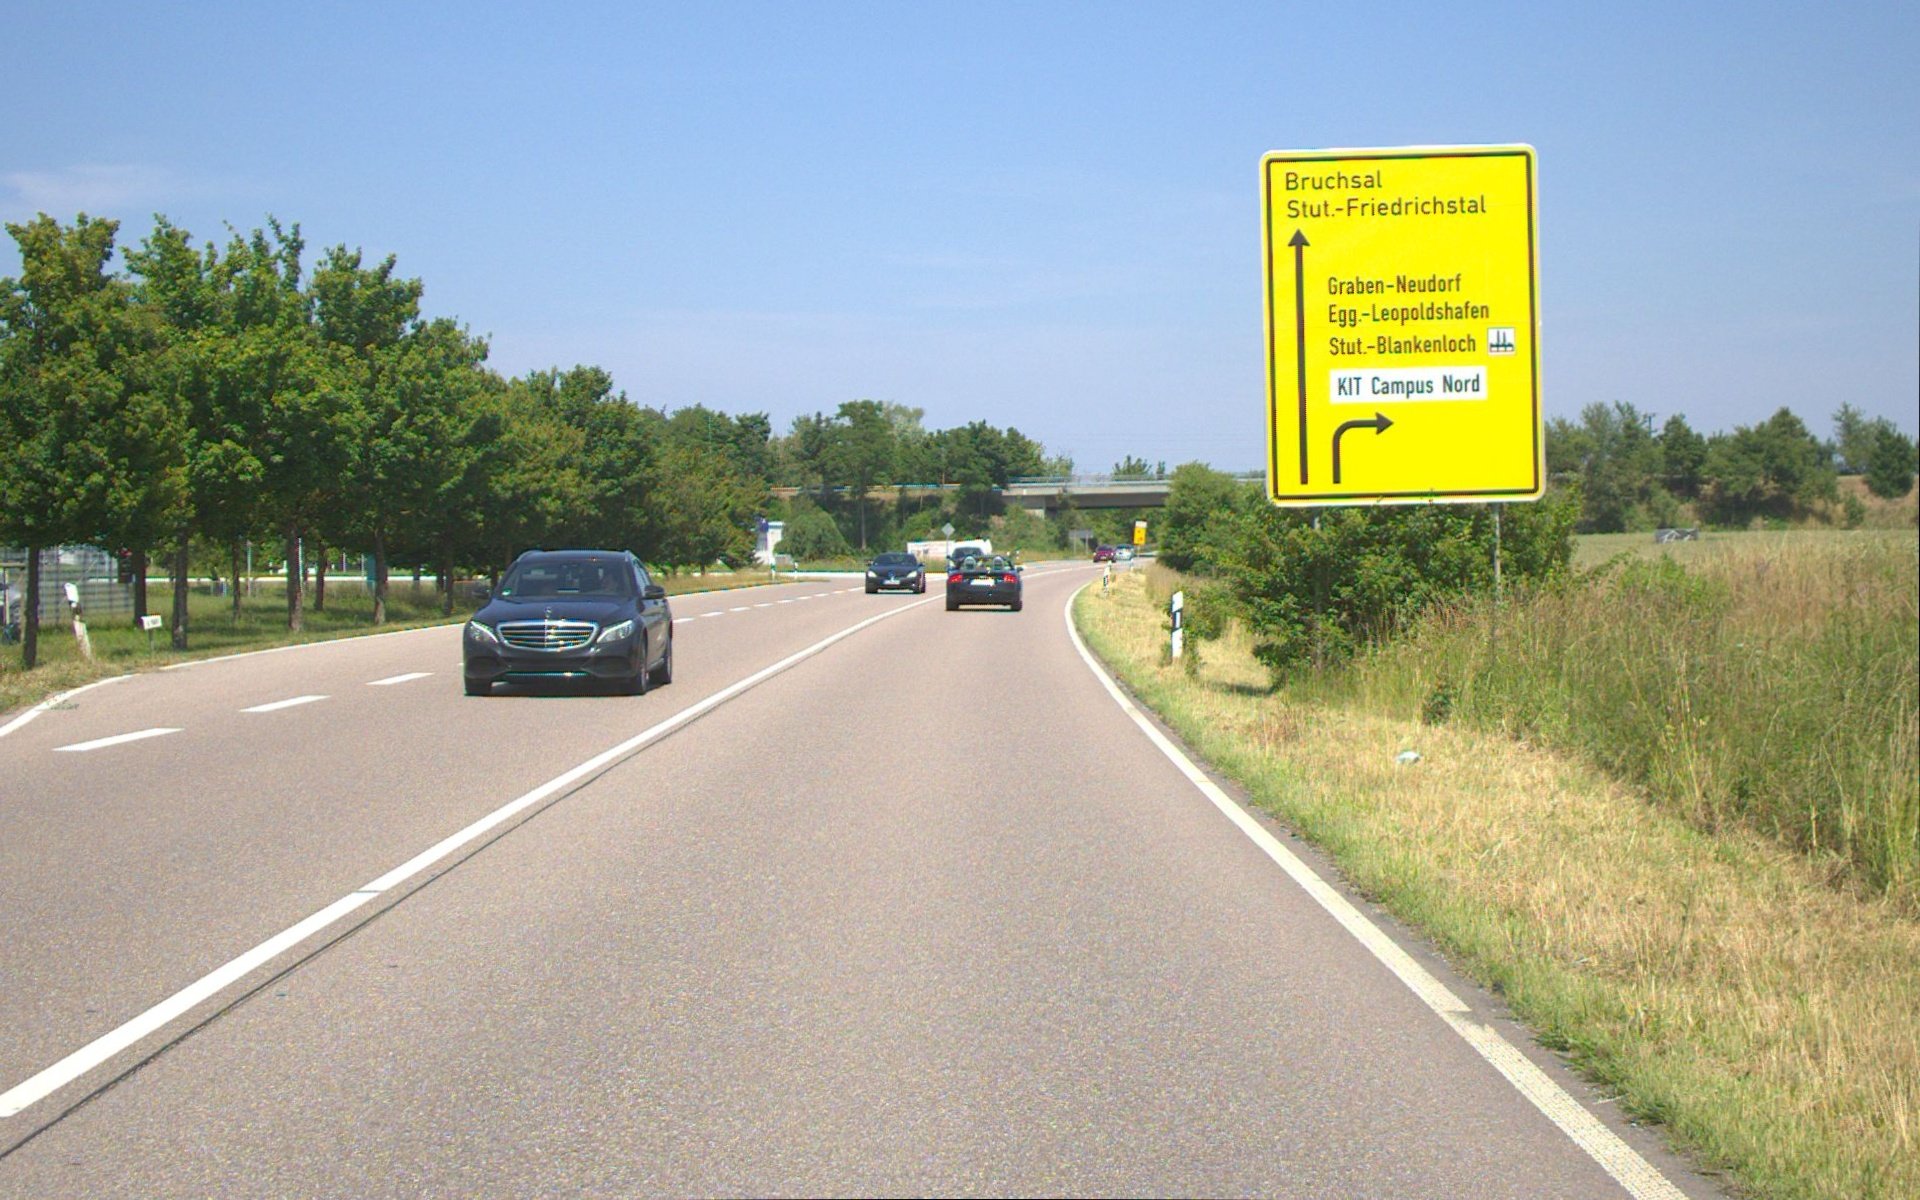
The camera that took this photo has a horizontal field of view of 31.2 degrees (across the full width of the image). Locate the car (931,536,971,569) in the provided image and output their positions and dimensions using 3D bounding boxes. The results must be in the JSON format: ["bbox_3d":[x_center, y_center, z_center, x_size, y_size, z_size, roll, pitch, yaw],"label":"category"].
[{"bbox_3d":[-0.406,-2.210,159.557,1.680,1.494,3.886,0,1,2],"label":"car"}]

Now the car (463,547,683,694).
[{"bbox_3d":[-3.963,0.167,35.837,1.781,1.415,4.534,0,1,0],"label":"car"}]

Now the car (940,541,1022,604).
[{"bbox_3d":[0.477,-0.666,81.222,1.814,1.436,4.000,1,1,-1],"label":"car"}]

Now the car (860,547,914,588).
[{"bbox_3d":[-2.259,-1.020,107.052,1.636,1.264,3.812,0,1,0],"label":"car"}]
